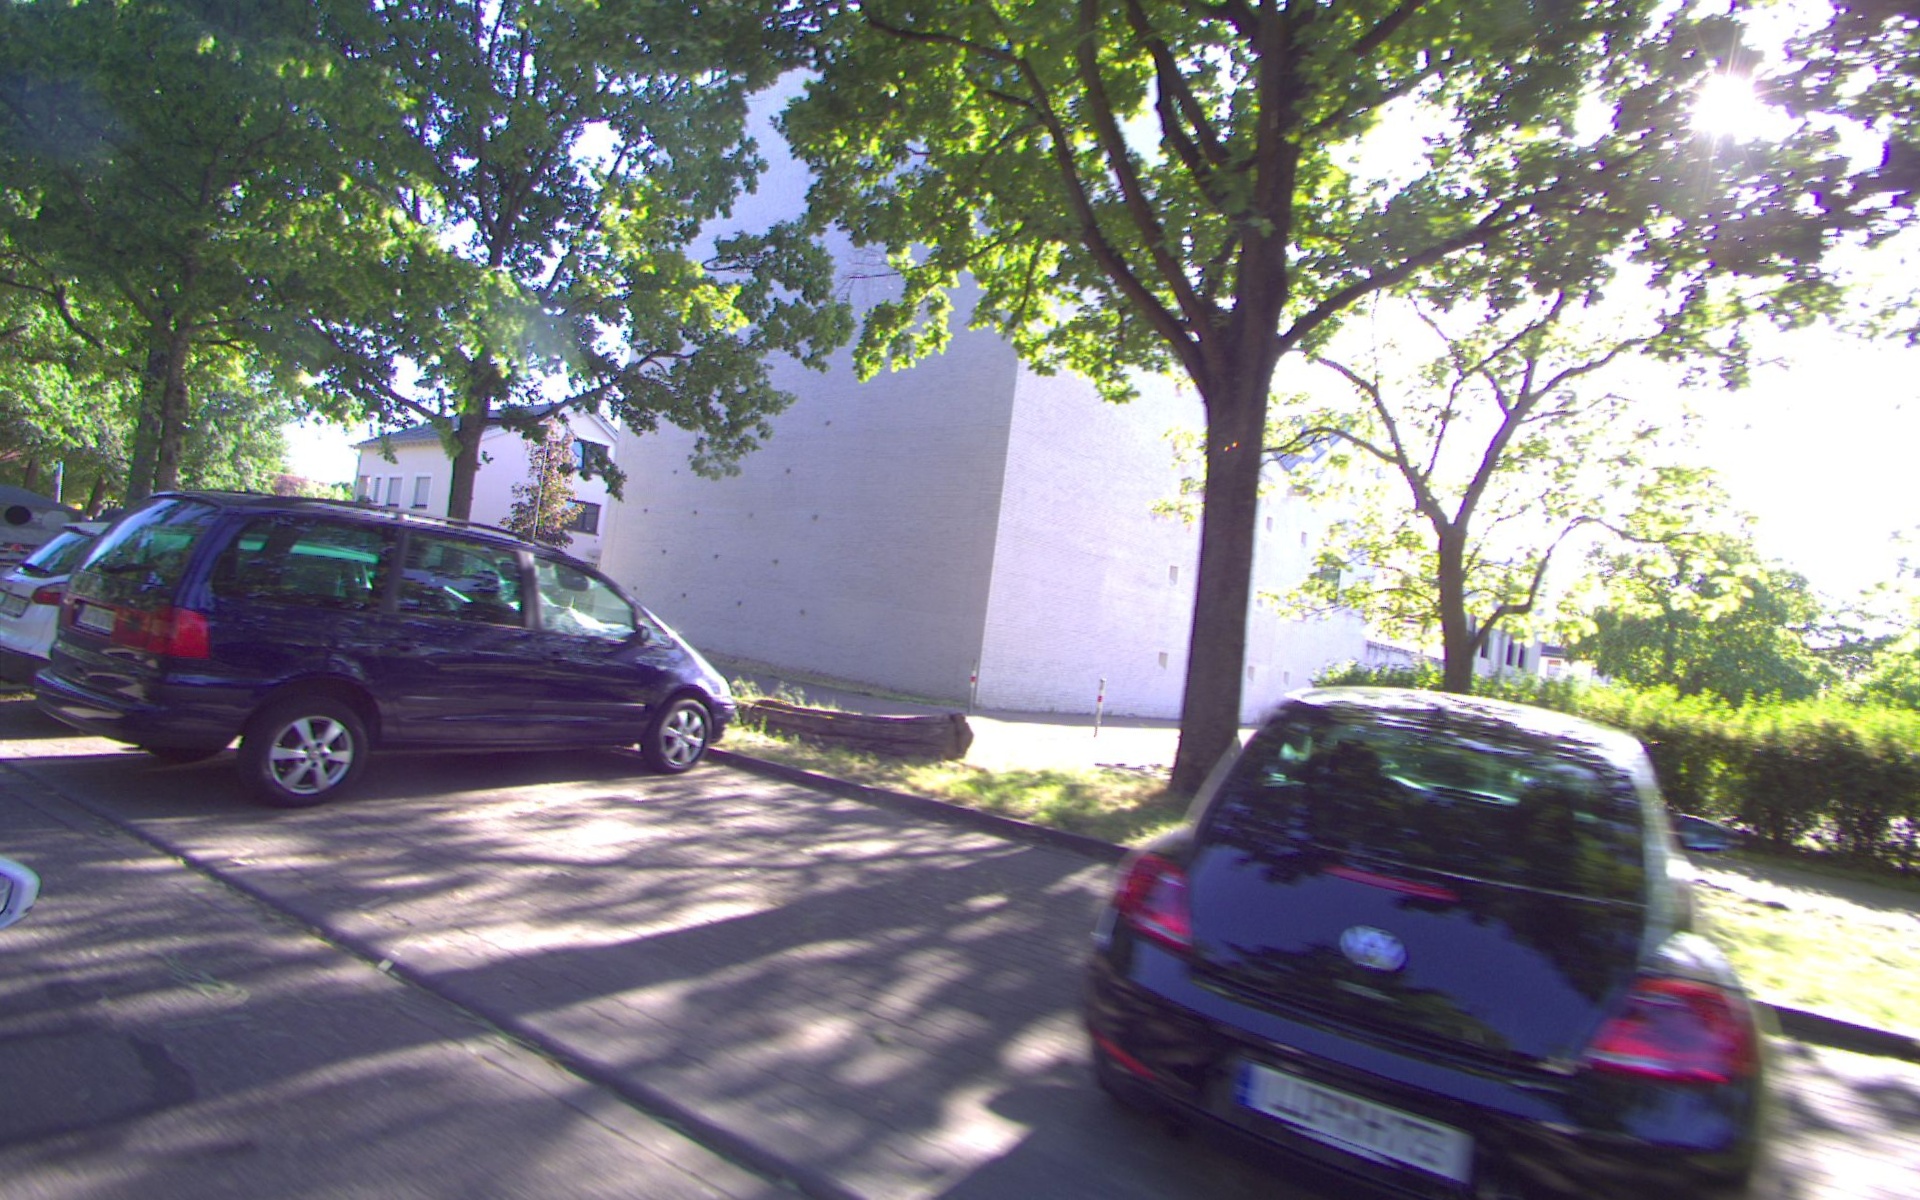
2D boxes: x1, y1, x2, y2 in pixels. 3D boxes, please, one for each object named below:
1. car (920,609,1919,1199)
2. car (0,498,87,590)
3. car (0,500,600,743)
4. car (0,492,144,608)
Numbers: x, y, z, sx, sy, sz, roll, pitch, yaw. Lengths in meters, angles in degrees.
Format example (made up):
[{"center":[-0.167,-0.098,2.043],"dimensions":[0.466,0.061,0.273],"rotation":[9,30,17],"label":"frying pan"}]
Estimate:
[{"center":[1.949,1.060,4.058],"dimensions":[2.044,1.537,4.251],"rotation":[7,-1,32],"label":"car"},{"center":[-17.928,-1.189,16.769],"dimensions":[1.884,1.473,4.678],"rotation":[7,0,30],"label":"car"},{"center":[-5.469,0.230,8.557],"dimensions":[1.771,1.490,4.225],"rotation":[7,0,33],"label":"car"},{"center":[-15.336,-0.933,14.837],"dimensions":[1.885,1.599,4.677],"rotation":[7,0,32],"label":"car"}]
